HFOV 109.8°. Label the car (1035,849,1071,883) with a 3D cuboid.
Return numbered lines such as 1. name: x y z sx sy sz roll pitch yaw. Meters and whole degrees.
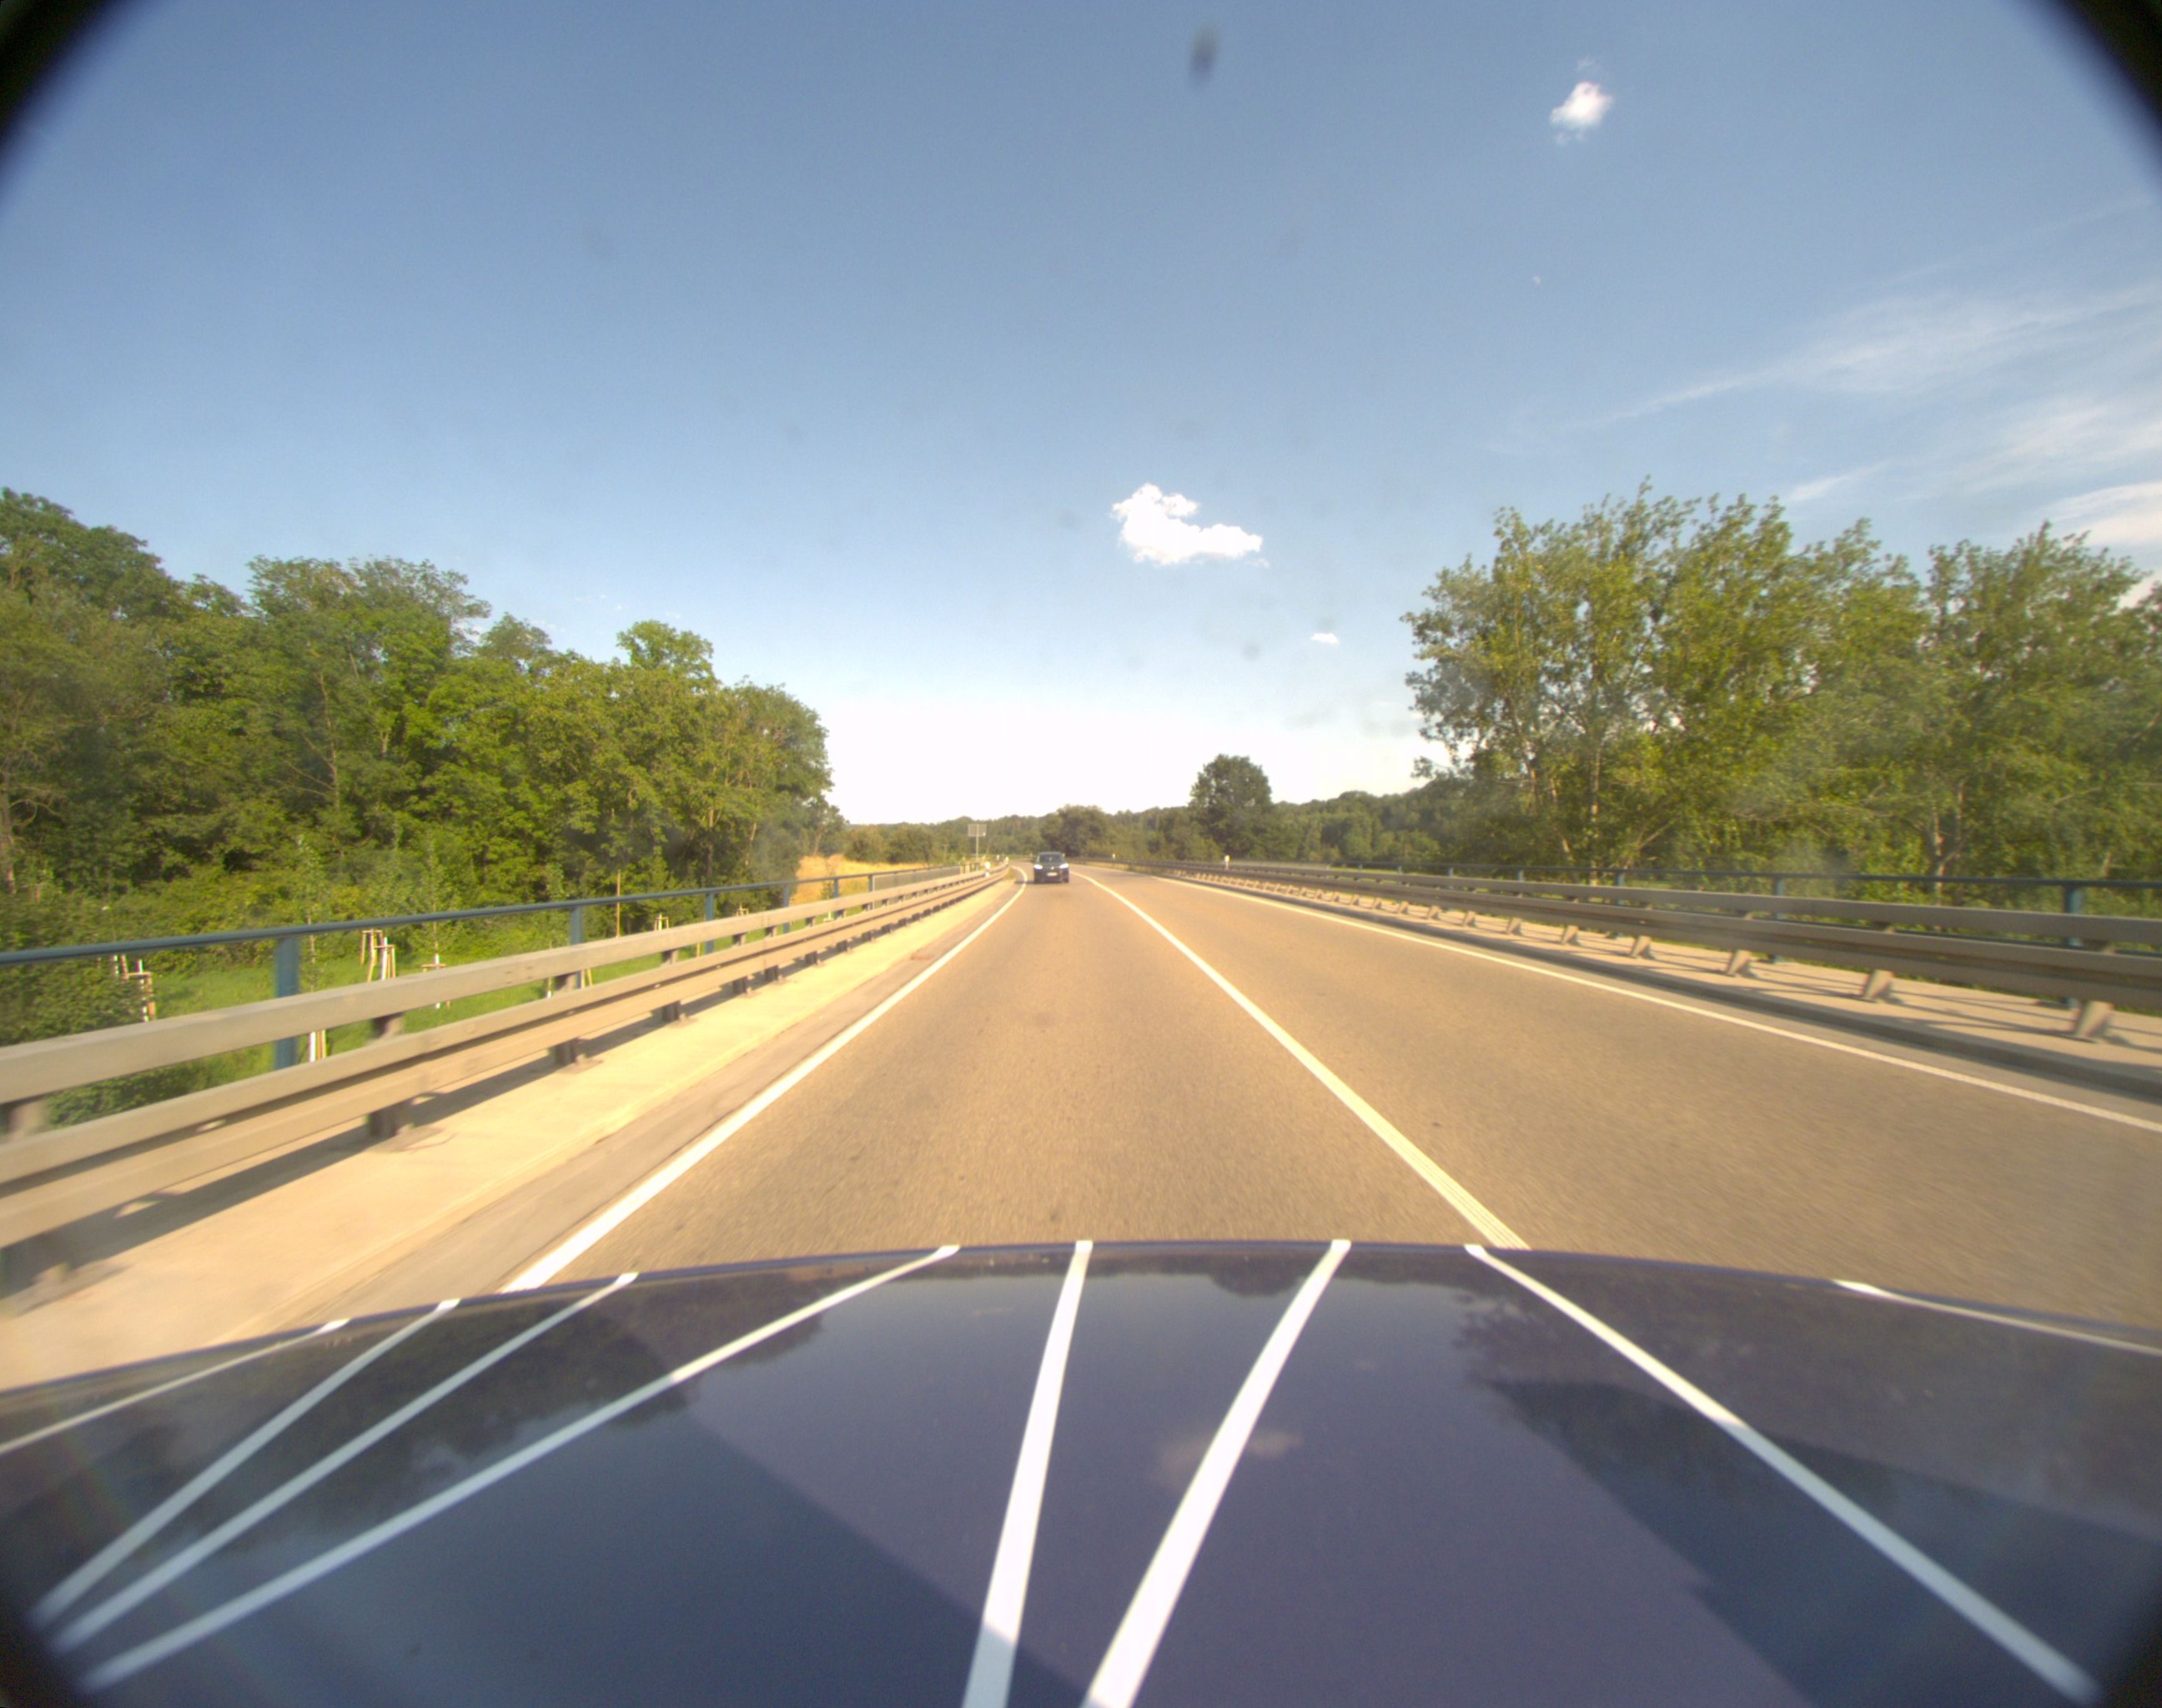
1. car: -1.549 0.619 40.885 1.751 1.645 4.304 -2 1 -3
